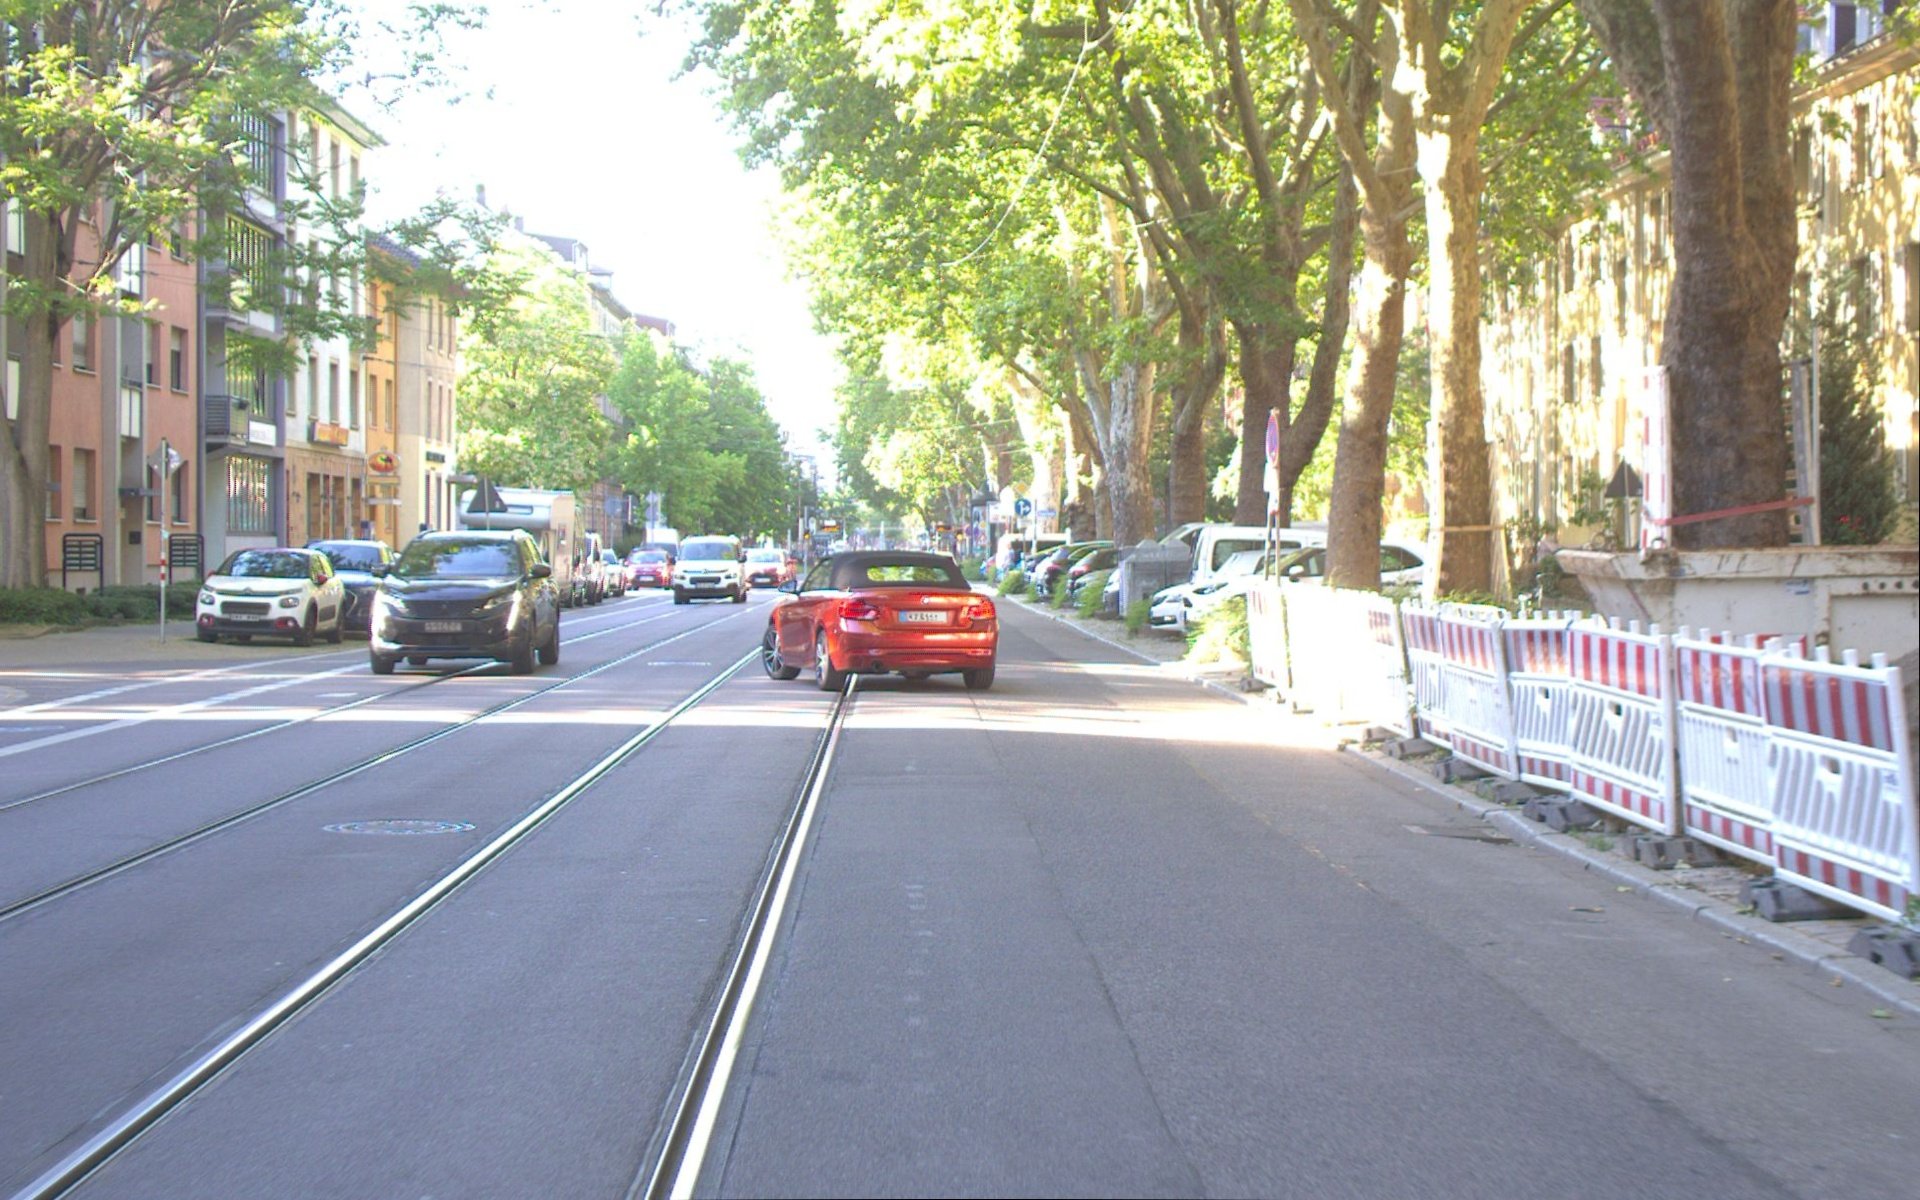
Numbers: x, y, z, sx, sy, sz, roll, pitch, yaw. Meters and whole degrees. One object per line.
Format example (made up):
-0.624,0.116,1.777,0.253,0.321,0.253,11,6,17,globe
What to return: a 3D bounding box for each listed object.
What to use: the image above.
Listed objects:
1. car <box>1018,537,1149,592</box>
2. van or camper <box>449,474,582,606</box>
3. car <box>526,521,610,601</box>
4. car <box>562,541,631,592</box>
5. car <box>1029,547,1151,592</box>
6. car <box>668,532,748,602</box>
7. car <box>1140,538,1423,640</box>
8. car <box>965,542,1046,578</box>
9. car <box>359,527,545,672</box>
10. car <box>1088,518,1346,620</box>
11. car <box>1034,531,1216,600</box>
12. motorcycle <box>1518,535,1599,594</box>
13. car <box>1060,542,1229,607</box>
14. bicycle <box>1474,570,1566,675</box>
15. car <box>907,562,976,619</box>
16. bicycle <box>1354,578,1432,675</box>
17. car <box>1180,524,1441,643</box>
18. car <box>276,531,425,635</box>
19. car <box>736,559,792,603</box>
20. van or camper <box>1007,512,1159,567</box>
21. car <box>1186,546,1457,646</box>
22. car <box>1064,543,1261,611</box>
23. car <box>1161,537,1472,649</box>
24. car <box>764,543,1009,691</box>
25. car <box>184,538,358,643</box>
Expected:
3.824,-1.110,107.107,3.923,1.664,1.961,0,1,-2,car
-10.972,-1.487,85.345,2.337,3.030,6.397,3,1,0,van or camper
-11.154,-1.147,98.023,1.952,2.084,5.249,3,1,-3,car
-11.443,-1.068,108.565,1.836,1.463,5.070,3,1,-3,car
3.950,-0.936,104.886,3.650,1.373,1.890,0,1,0,car
-6.799,-0.908,93.191,1.891,1.826,4.896,0,1,-1,car
5.036,-0.187,54.245,4.371,1.536,1.801,0,2,3,car
2.265,-1.976,171.195,3.987,1.778,2.000,0,1,0,car
-5.872,-0.053,40.155,1.853,1.595,4.465,0,1,-5,car
5.036,-0.620,67.709,4.835,1.956,2.065,0,1,-3,car
4.173,-0.878,86.970,4.497,1.596,2.027,-2,1,3,car
14.717,-0.873,84.588,1.803,1.356,0.622,-3,1,-3,motorcycle
4.297,-0.607,80.516,3.838,1.504,1.711,0,1,-1,car
6.343,0.238,39.019,0.690,1.150,1.949,0,1,-1,bicycle
-0.556,-0.296,100.639,1.918,1.579,3.791,-1,1,-1,car
4.931,0.289,39.235,0.635,1.067,1.809,0,1,-1,bicycle
5.278,-0.263,52.219,3.844,1.766,1.916,0,1,3,car
-10.296,-0.319,58.338,1.781,1.605,4.588,3,1,-2,car
-6.744,-0.665,118.642,1.775,1.453,4.203,-1,1,-1,car
4.675,-2.322,131.170,5.554,2.006,2.245,0,3,-5,van or camper
5.249,-0.075,50.259,3.844,1.428,1.851,0,1,3,car
4.482,-0.516,76.611,4.247,1.478,1.898,0,1,-1,car
4.931,-0.098,47.936,4.087,1.516,1.917,0,0,-2,car
-0.835,0.136,35.885,1.792,1.384,4.238,1,1,-12,car
-10.555,-0.166,52.923,1.806,1.473,4.090,2,1,0,car
